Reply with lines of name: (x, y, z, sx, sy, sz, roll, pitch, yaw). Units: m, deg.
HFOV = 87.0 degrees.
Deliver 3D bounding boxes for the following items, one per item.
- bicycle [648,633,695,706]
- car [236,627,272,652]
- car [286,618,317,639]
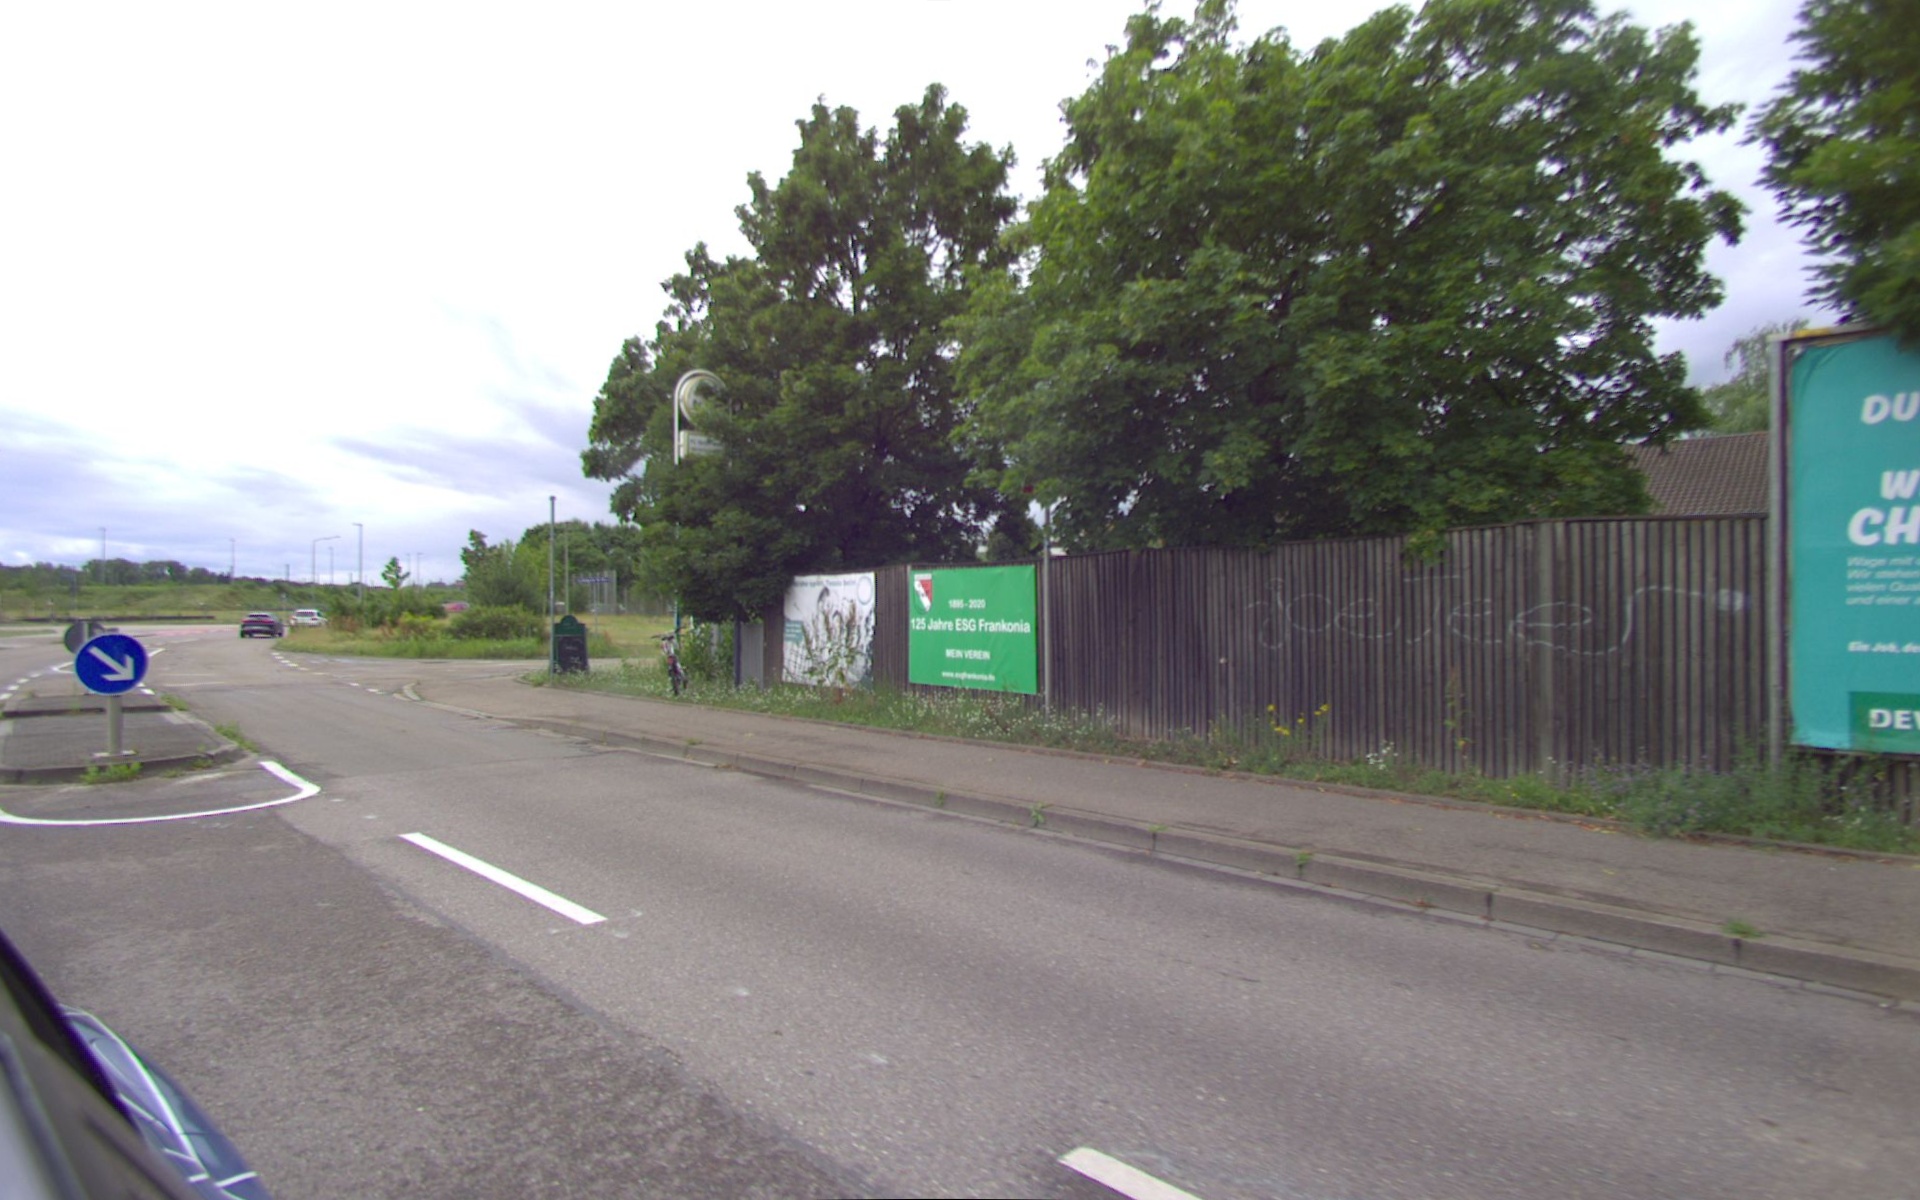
bicycle: (-4.596, 1.072, 16.059, 0.574, 1.006, 1.776, -2, 1, -20)
car: (-43.244, 2.398, 61.952, 1.716, 1.464, 4.009, 1, -1, -37)
car: (-49.043, 2.091, 75.408, 1.813, 1.548, 4.011, 1, -1, -32)
